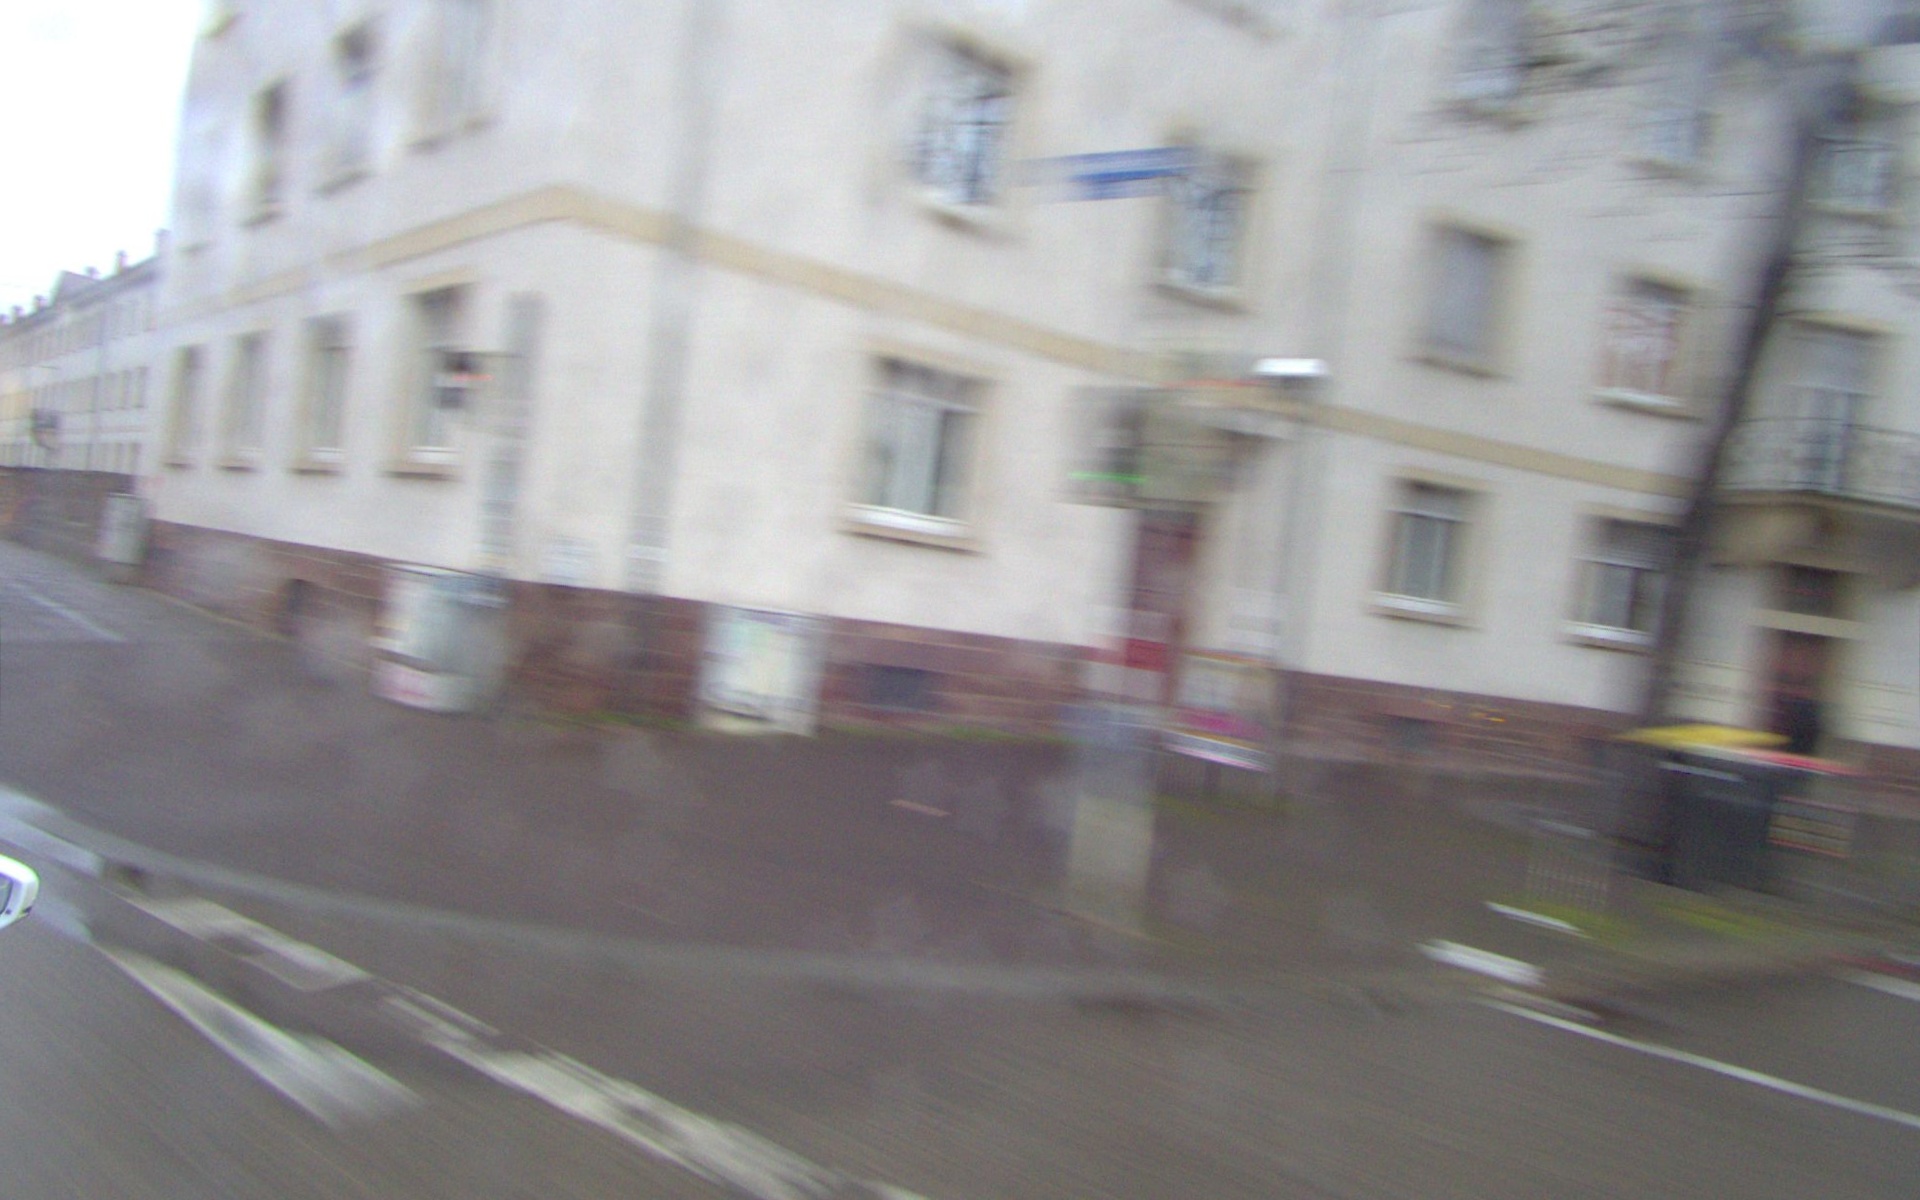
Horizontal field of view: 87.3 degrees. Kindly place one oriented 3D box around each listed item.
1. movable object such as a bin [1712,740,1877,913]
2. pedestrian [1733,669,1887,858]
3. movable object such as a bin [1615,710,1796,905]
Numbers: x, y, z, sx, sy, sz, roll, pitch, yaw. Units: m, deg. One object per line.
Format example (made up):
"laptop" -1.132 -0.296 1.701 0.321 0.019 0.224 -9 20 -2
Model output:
"movable object such as a bin" 6.393 1.722 7.726 0.689 1.133 0.538 9 -1 -8
"pedestrian" 8.382 1.592 9.958 0.701 1.682 0.687 7 2 1
"movable object such as a bin" 5.604 1.546 7.587 0.840 1.266 0.521 9 -1 -8
